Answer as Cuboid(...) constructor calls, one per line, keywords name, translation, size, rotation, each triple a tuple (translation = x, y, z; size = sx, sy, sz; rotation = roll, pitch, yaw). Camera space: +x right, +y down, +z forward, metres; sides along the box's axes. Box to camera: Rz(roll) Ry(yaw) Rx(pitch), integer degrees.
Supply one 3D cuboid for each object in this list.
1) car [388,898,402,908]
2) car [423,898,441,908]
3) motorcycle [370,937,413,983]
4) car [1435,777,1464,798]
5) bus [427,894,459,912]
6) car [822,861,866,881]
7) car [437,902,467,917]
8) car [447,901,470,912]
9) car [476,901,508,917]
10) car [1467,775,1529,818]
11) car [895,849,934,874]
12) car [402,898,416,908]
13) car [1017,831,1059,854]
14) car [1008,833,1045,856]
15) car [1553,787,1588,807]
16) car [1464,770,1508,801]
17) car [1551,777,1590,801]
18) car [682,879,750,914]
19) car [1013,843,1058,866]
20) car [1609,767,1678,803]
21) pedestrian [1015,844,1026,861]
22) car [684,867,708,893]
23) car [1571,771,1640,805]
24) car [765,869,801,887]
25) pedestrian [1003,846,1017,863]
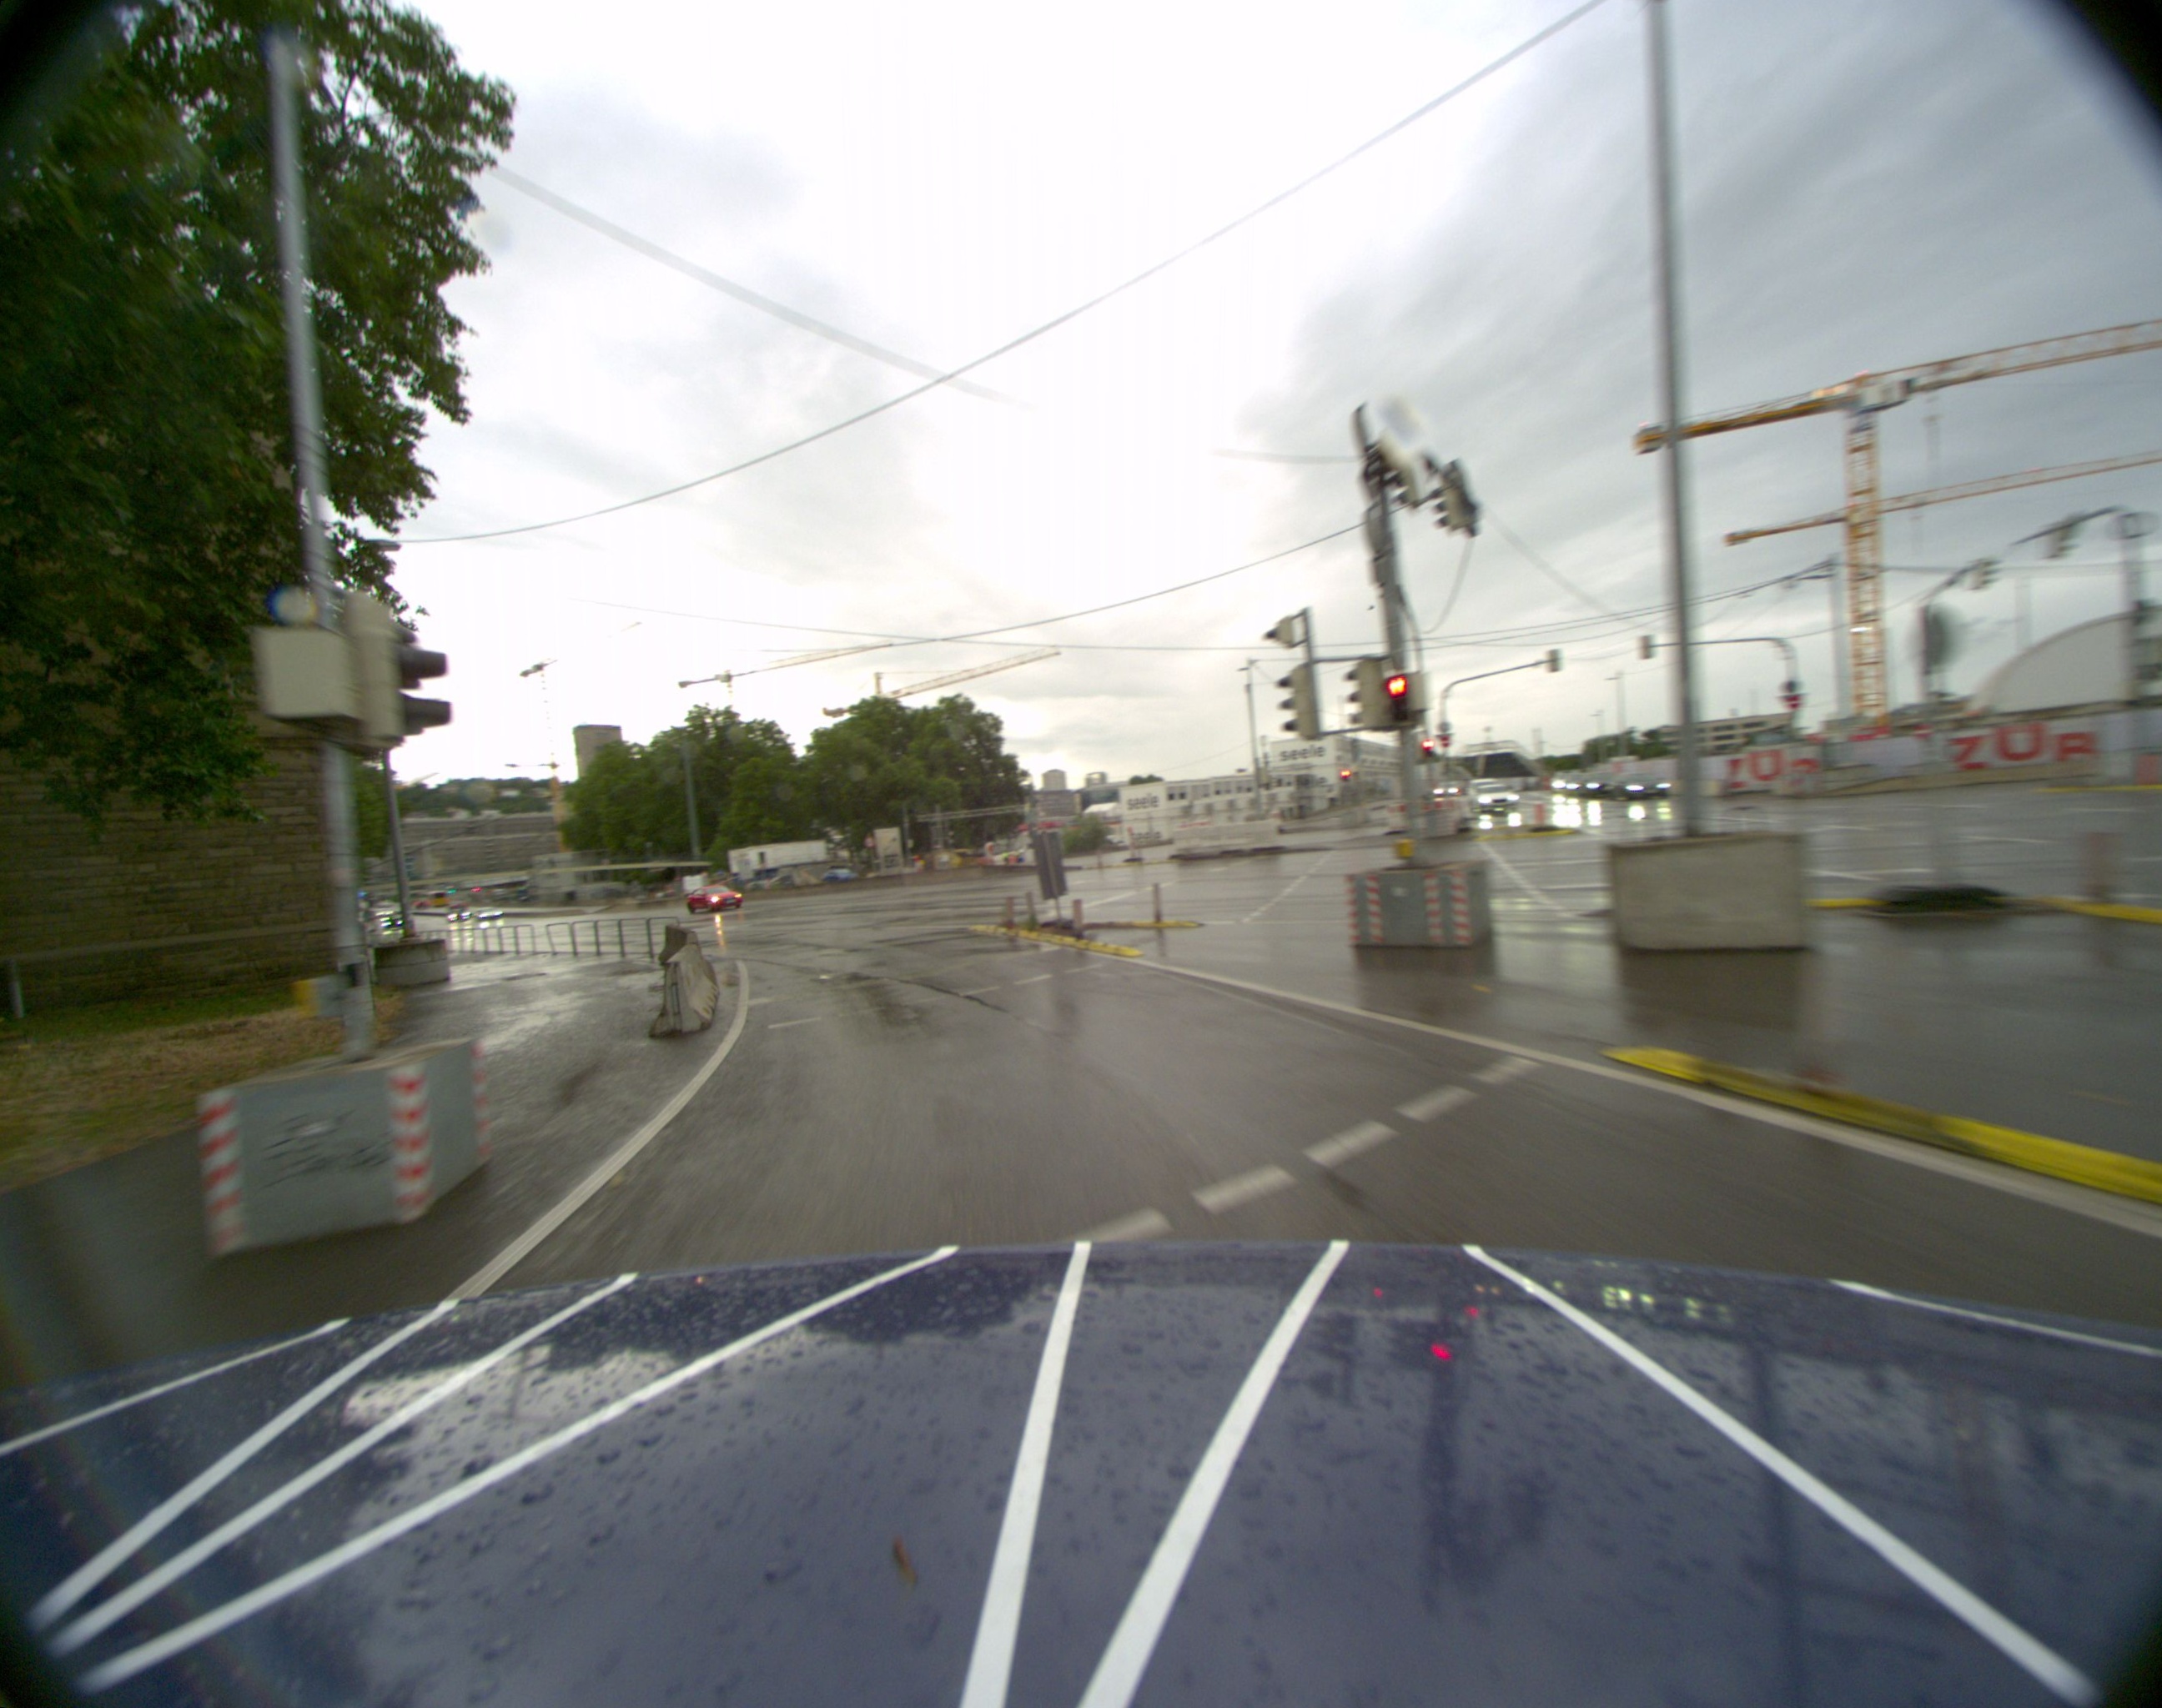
Cuboid(name="car", translation=(-158.306, 11.304, 175.264), size=(3.990, 2.002, 2.003), rotation=(-5, 2, 45))
Cuboid(name="car", translation=(-125.920, 9.566, 147.430), size=(4.429, 1.567, 1.844), rotation=(-5, 2, 40))
Cuboid(name="motorcycle", translation=(-19.010, 2.901, 20.948), size=(1.894, 1.132, 0.549), rotation=(-5, 2, 41))
Cuboid(name="car", translation=(36.139, -6.503, 74.490), size=(1.995, 1.762, 4.362), rotation=(-6, 2, 31))
Cuboid(name="bus", translation=(-130.932, 10.095, 155.895), size=(8.931, 2.925, 3.276), rotation=(-5, 4, 41))
Cuboid(name="car", translation=(-21.669, 1.577, 69.294), size=(1.844, 1.481, 4.429), rotation=(-8, 2, -44))
Cuboid(name="car", translation=(-79.592, 7.057, 96.142), size=(4.429, 1.567, 1.991), rotation=(-5, 2, 40))
Cuboid(name="car", translation=(-105.917, 8.922, 129.251), size=(4.429, 1.567, 1.844), rotation=(-5, 2, 36))
Cuboid(name="car", translation=(-69.940, 6.570, 90.241), size=(4.429, 1.567, 1.991), rotation=(-5, 2, 40))
Cuboid(name="car", translation=(23.144, -3.163, 42.352), size=(1.996, 2.002, 4.426), rotation=(-6, 2, 17))
Cuboid(name="car", translation=(-18.419, 0.865, 84.106), size=(3.990, 2.371, 2.003), rotation=(-5, 2, 41))
Cuboid(name="car", translation=(-153.505, 11.171, 173.481), size=(3.990, 2.002, 2.003), rotation=(-5, 2, 45))
Cuboid(name="car", translation=(-5.568, -1.510, 98.339), size=(4.944, 2.371, 2.000), rotation=(-6, 2, 5))
Cuboid(name="car", translation=(-6.914, -1.226, 96.744), size=(3.993, 2.371, 2.001), rotation=(-6, 2, 14))
Cuboid(name="car", translation=(34.312, -4.001, 53.334), size=(1.647, 1.172, 4.294), rotation=(-5, 2, 28))
Cuboid(name="car", translation=(27.054, -4.541, 50.907), size=(1.996, 1.762, 4.361), rotation=(-6, 2, 22))
Cuboid(name="car", translation=(37.328, -4.942, 58.031), size=(1.995, 1.548, 4.530), rotation=(-6, 2, 28))
Cuboid(name="car", translation=(-20.497, 2.403, 42.625), size=(3.990, 1.543, 1.693), rotation=(-6, 2, 39))
Cuboid(name="car", translation=(-3.890, 0.024, 65.664), size=(1.996, 1.500, 4.004), rotation=(-6, 3, 28))
Cuboid(name="car", translation=(29.373, -3.571, 39.805), size=(1.857, 1.557, 3.805), rotation=(-6, 2, 21))
Cuboid(name="pedestrian", translation=(-5.316, -0.134, 66.744), size=(0.744, 1.345, 0.838), rotation=(-7, 2, 5))
Cuboid(name="car", translation=(-45.035, 3.053, 88.910), size=(2.082, 2.722, 4.584), rotation=(-7, 2, -25))
Cuboid(name="car", translation=(31.130, -3.881, 45.265), size=(1.996, 1.708, 4.426), rotation=(-6, 2, 17))
Cuboid(name="car", translation=(-30.947, 2.521, 78.913), size=(1.844, 1.481, 4.429), rotation=(-8, 2, -43))
Cuboid(name="pedestrian", translation=(-6.194, 0.013, 66.184), size=(0.746, 1.345, 0.836), rotation=(-9, 3, -43))
